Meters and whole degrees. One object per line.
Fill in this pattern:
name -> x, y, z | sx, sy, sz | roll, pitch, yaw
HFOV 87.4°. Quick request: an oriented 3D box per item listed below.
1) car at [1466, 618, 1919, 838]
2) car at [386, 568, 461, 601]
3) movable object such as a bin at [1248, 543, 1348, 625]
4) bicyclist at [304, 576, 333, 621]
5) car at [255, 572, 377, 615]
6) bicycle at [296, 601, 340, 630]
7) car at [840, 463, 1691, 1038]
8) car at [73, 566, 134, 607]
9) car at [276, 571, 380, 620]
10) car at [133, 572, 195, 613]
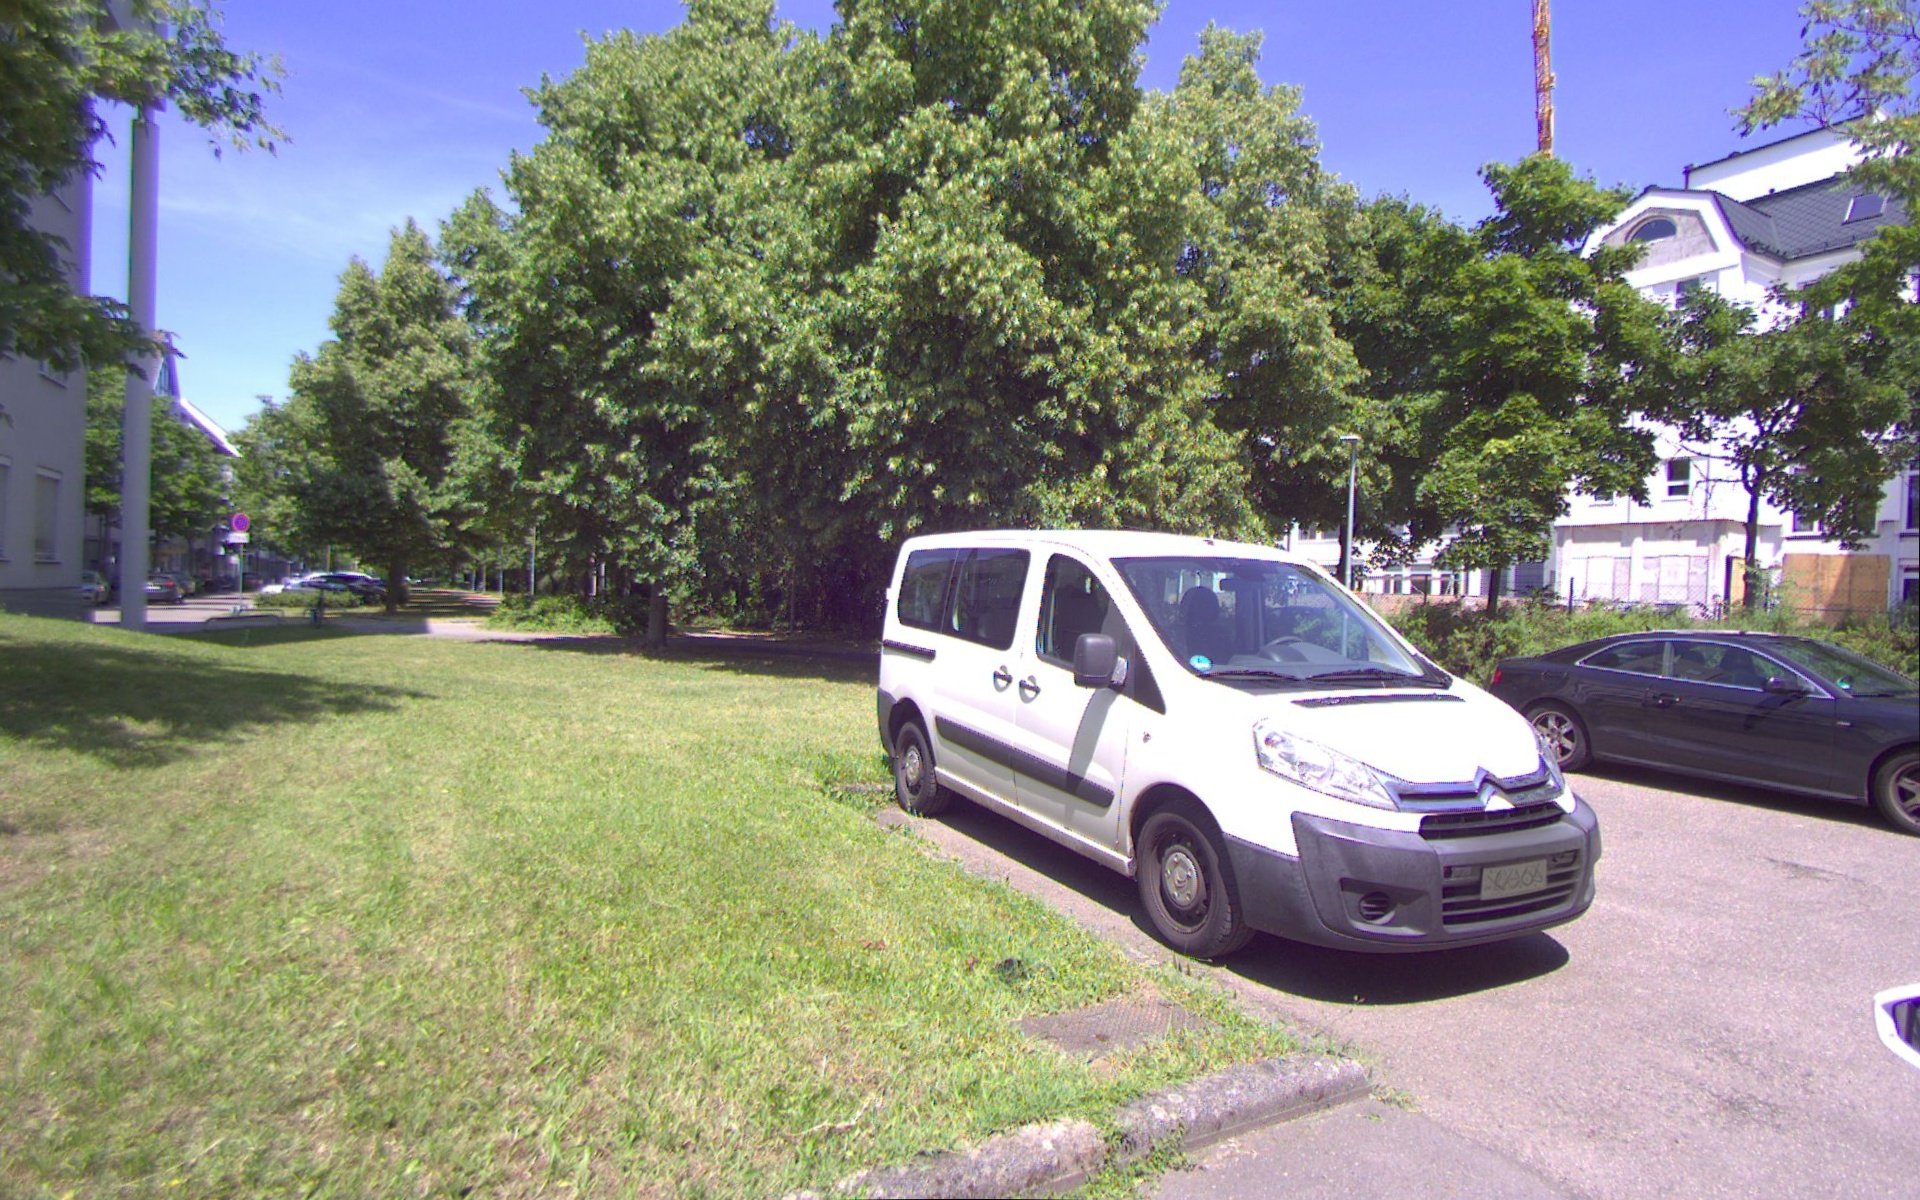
car -> 6.977, 0.971, 8.563 | 1.998, 1.398, 4.414 | 3, 0, -26
car -> -33.312, -0.932, 62.367 | 3.955, 1.790, 1.815 | 3, 0, -31
movable object such as a bin -> 19.466, -0.936, 58.160 | 1.973, 4.430, 5.688 | 3, 0, -25
bicyclist -> -15.445, -0.033, 24.189 | 0.511, 1.059, 0.519 | -1, 1, -27
car -> -27.789, -0.270, 43.508 | 4.293, 1.631, 1.917 | 3, 0, -31
bicycle -> -15.479, 0.364, 24.245 | 0.725, 0.650, 1.605 | 0, 1, -27
car -> 1.094, 0.508, 5.970 | 2.041, 1.908, 4.830 | 3, 0, -26
car -> -37.619, -0.626, 44.097 | 1.796, 1.624, 3.844 | 3, 0, -43
car -> -29.432, -0.187, 46.890 | 3.955, 2.040, 1.983 | 3, 0, -31
car -> -35.402, -0.343, 44.638 | 1.796, 1.624, 3.844 | 3, 0, -43
